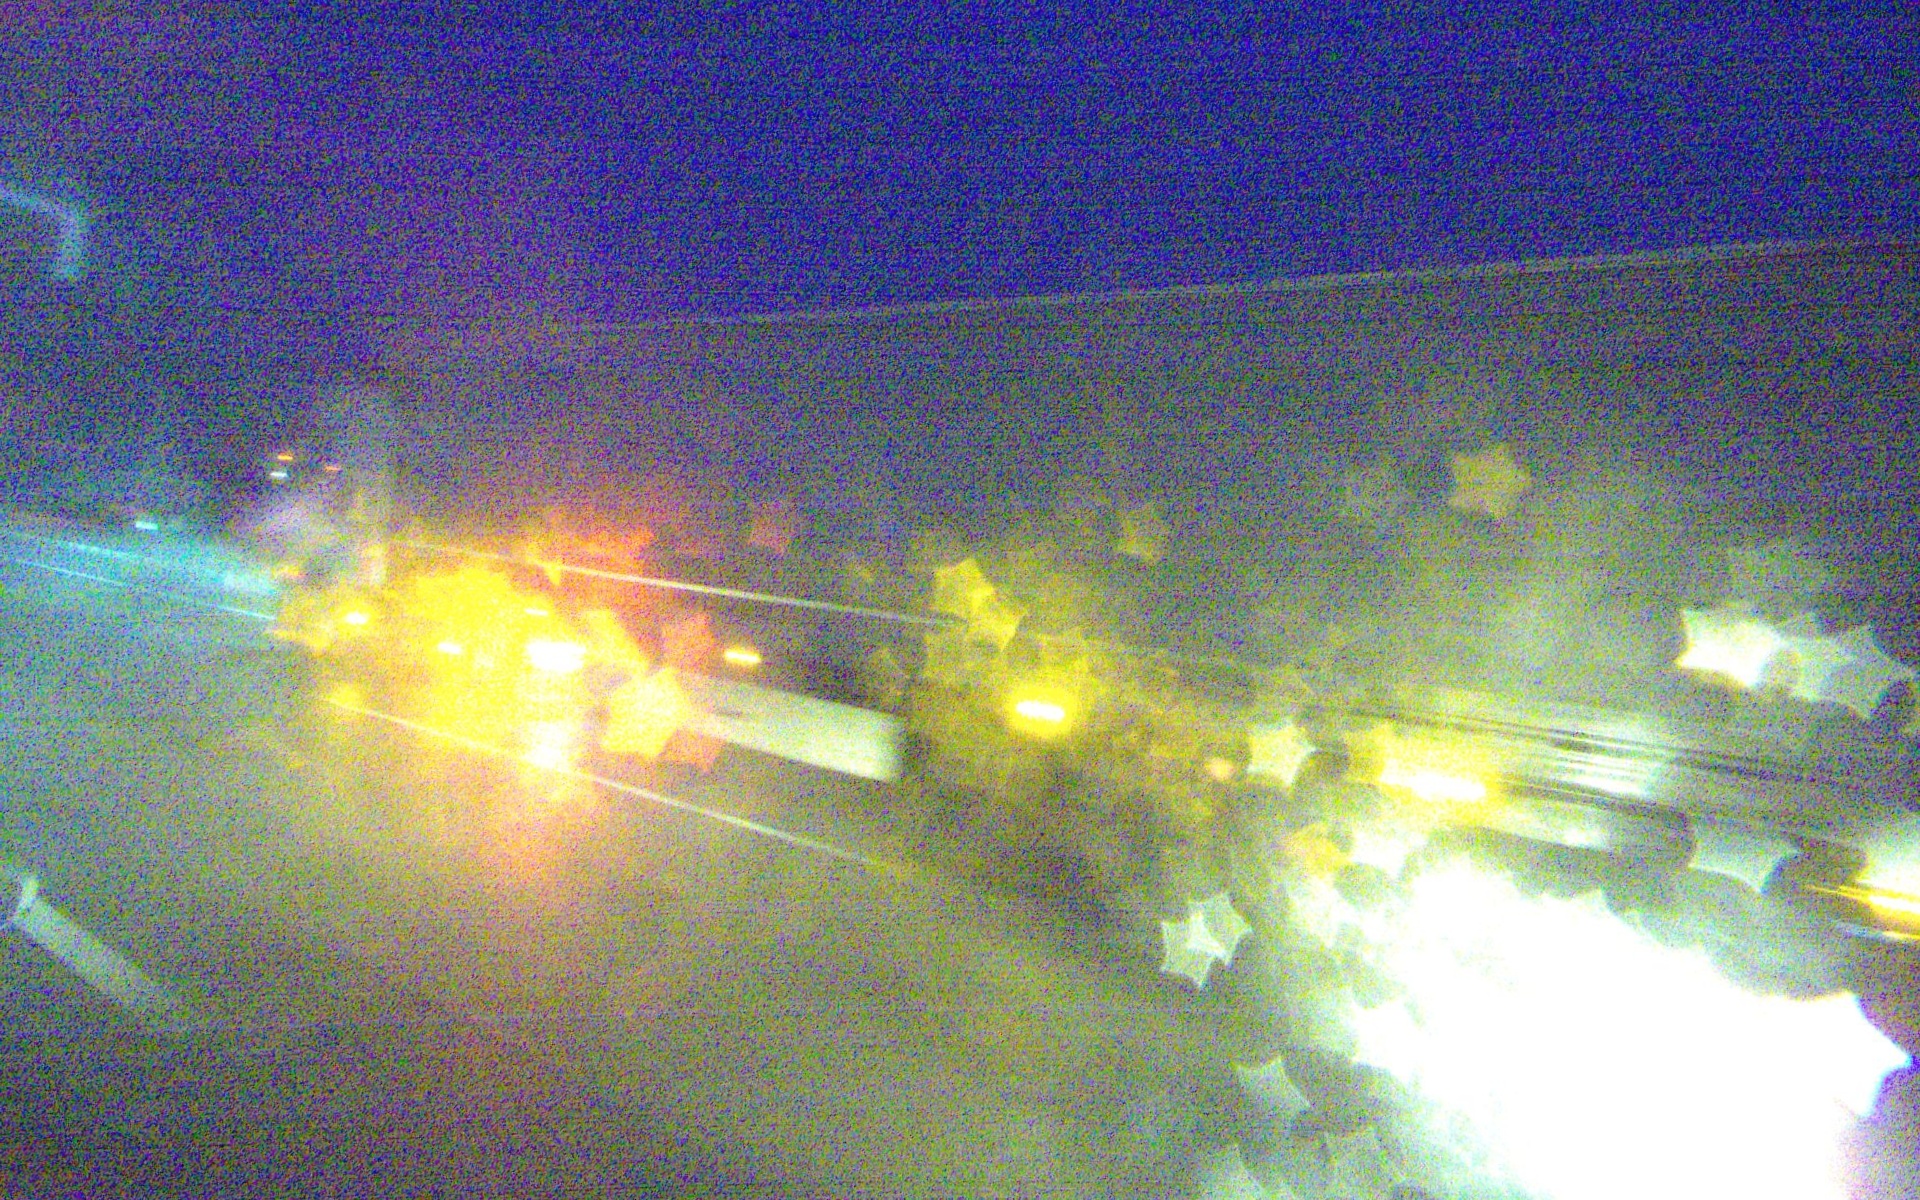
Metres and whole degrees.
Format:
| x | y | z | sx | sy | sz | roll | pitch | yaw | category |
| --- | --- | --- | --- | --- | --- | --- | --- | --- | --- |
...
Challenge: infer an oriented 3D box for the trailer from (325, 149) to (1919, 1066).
| x | y | z | sx | sy | sz | roll | pitch | yaw | category |
| --- | --- | --- | --- | --- | --- | --- | --- | --- | --- |
| -0.344 | -0.547 | 9.159 | 14.245 | 4.161 | 2.906 | 7 | 1 | 31 | trailer |

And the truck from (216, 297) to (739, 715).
| x | y | z | sx | sy | sz | roll | pitch | yaw | category |
| --- | --- | --- | --- | --- | --- | --- | --- | --- | --- |
| -6.210 | -1.127 | 12.754 | 5.930 | 4.161 | 2.906 | 7 | 1 | 31 | truck |

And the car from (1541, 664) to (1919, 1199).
| x | y | z | sx | sy | sz | roll | pitch | yaw | category |
| --- | --- | --- | --- | --- | --- | --- | --- | --- | --- |
| 3.554 | 1.199 | 1.604 | 4.419 | 1.594 | 1.743 | 6 | -1 | 31 | car |
